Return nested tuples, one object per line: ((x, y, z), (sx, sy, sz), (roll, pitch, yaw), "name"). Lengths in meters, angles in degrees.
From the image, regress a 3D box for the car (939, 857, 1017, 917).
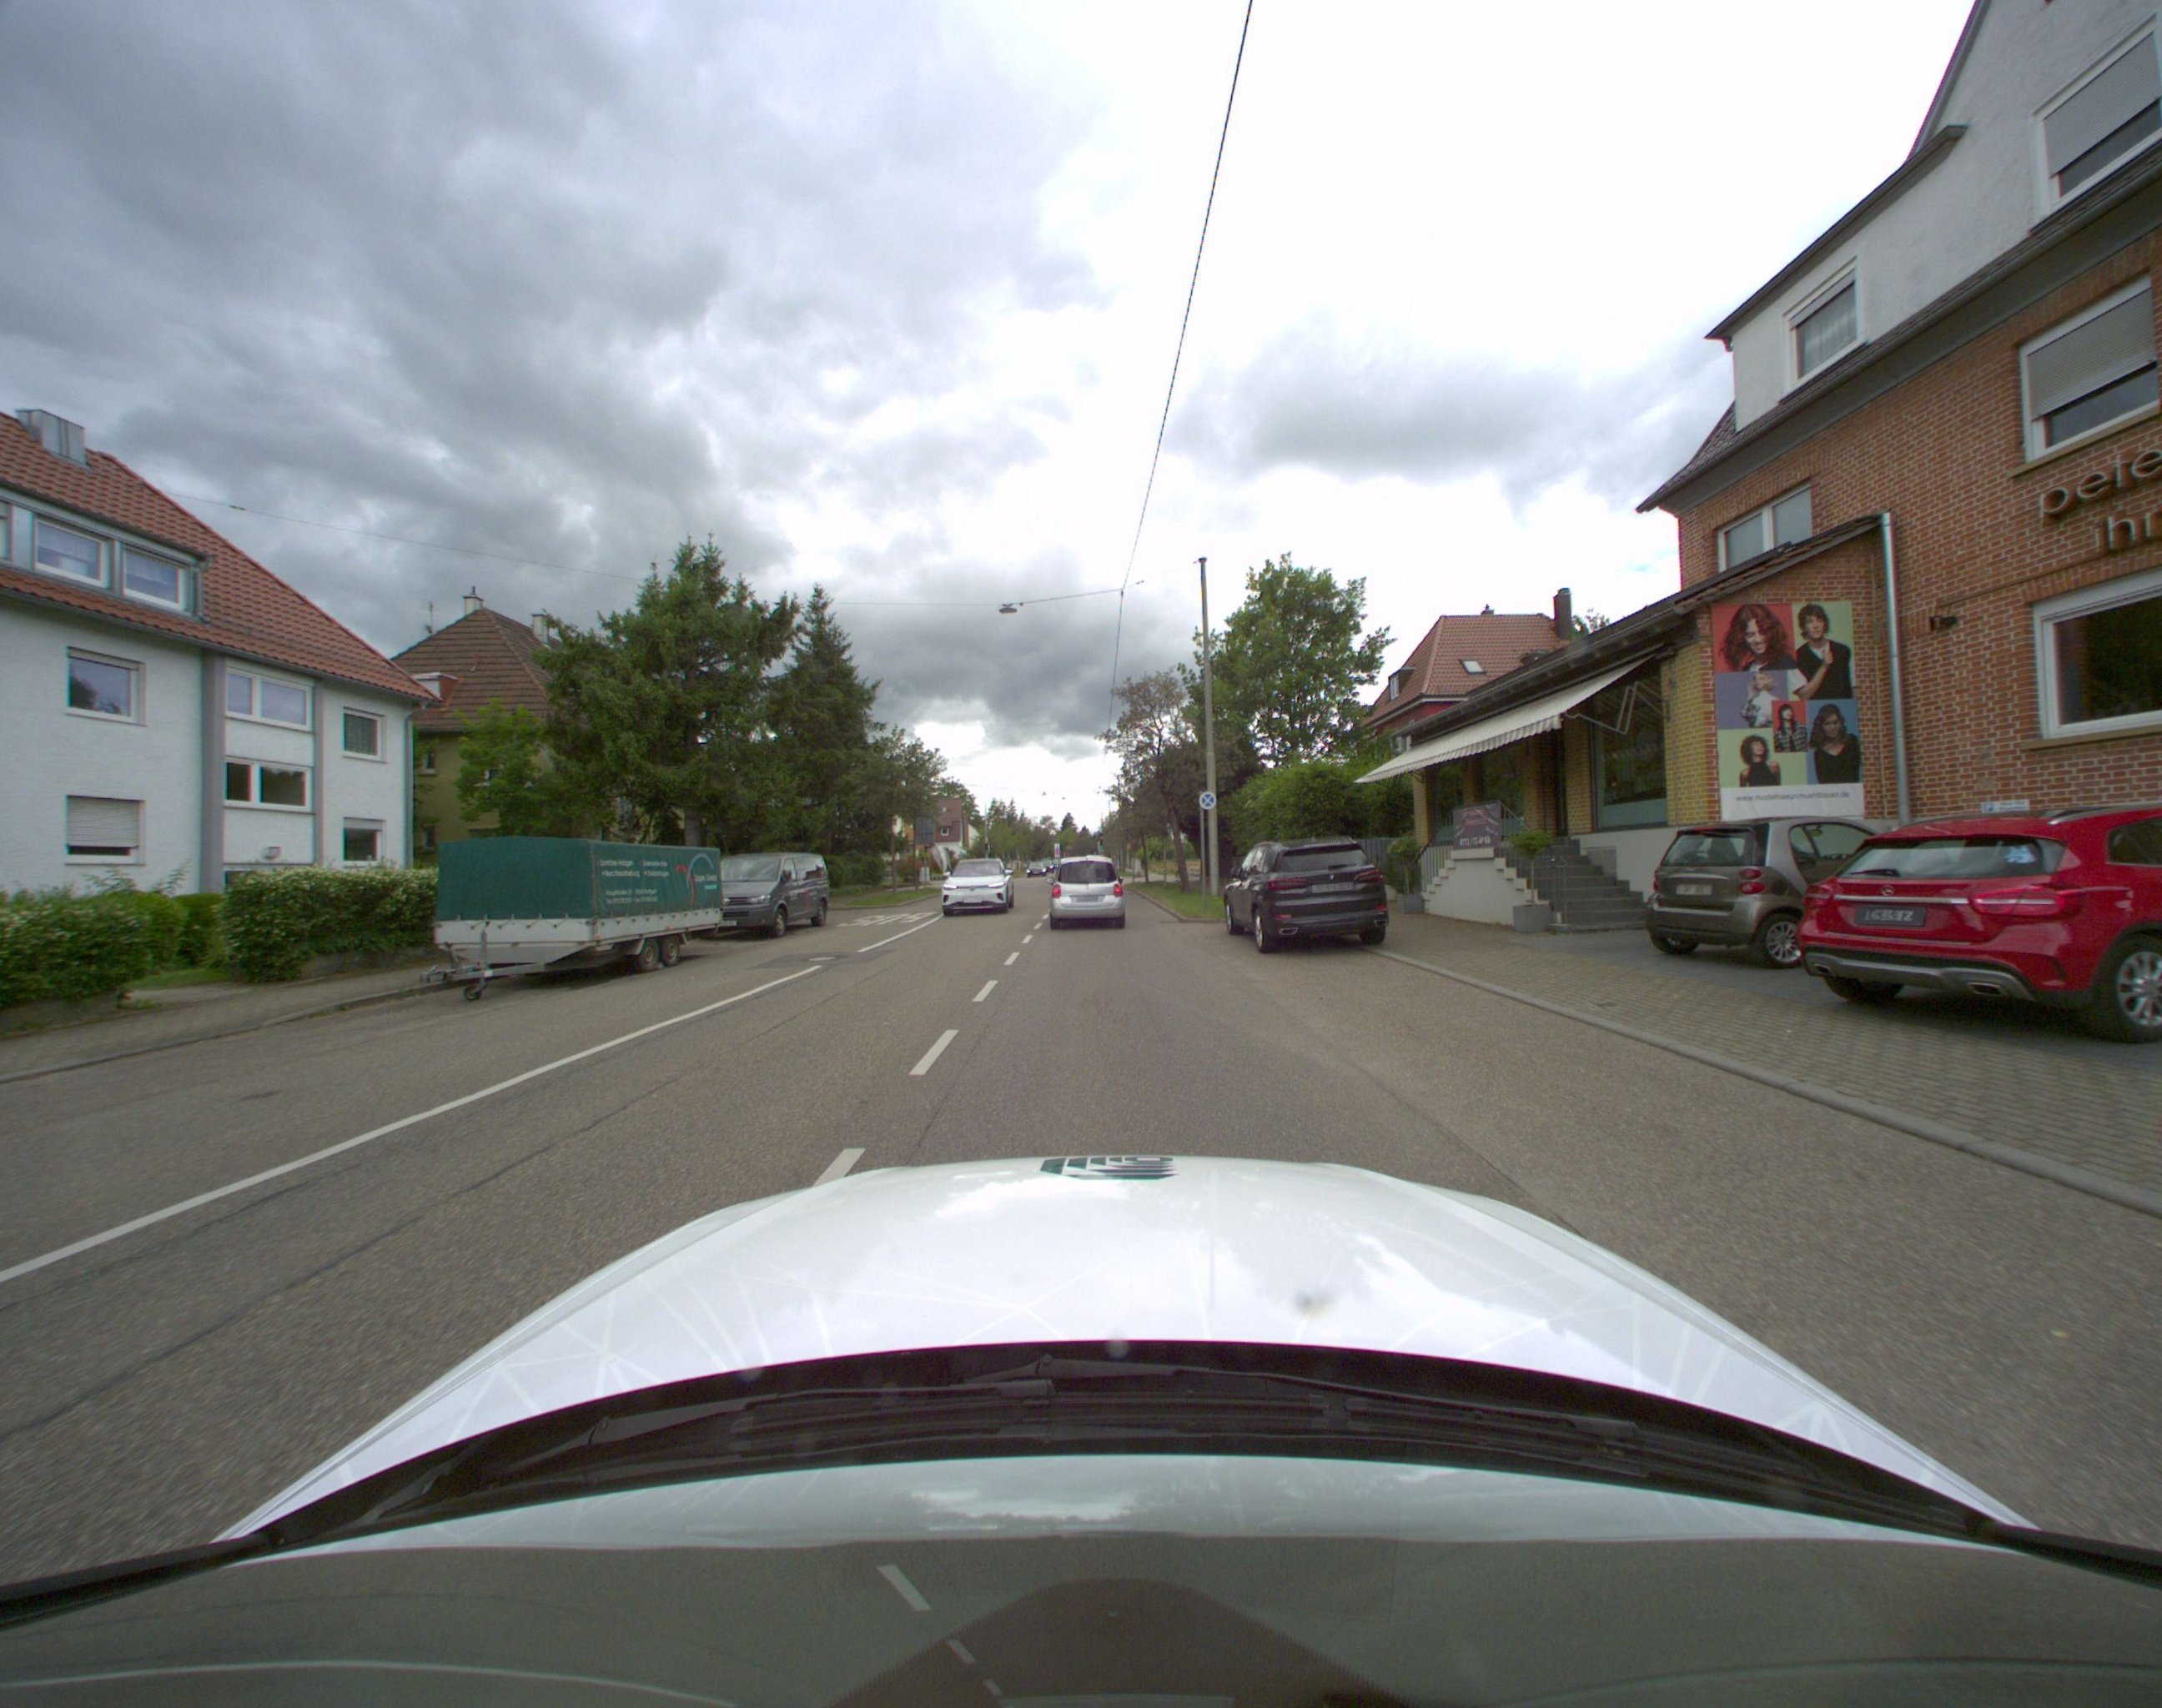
((-3.017, 0.946, 24.603), (1.901, 1.618, 3.997), (-1, -1, -2), "car")

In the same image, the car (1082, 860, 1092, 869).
((1.123, 2.122, 159.424), (1.823, 1.675, 3.575), (-2, 0, 1), "car")

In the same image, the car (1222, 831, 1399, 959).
((3.652, 0.622, 13.730), (1.806, 1.742, 3.999), (-3, -1, 0), "car")

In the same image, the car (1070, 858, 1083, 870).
((-0.664, 1.548, 128.277), (1.823, 1.675, 3.575), (-2, 0, 1), "car")

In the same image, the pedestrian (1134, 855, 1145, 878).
((4.402, 0.945, 61.616), (0.703, 1.647, 0.773), (-3, 0, 0), "pedestrian")

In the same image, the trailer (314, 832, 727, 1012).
((-7.883, 0.850, 12.553), (2.305, 2.087, 5.870), (-1, -1, 0), "trailer")

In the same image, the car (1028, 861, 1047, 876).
((-4.207, 1.423, 78.932), (1.717, 1.411, 3.996), (-1, -1, -2), "car")

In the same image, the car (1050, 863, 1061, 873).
((-3.986, 2.162, 126.704), (1.717, 1.411, 3.996), (-1, -1, -2), "car")

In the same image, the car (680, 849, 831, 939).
((-7.779, 0.907, 19.976), (1.882, 1.922, 4.560), (-1, -1, 0), "car")

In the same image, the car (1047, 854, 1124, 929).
((0.160, 0.831, 19.245), (1.624, 1.557, 4.001), (-1, -1, 2), "car")

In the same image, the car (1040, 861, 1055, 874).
((-3.954, 1.587, 95.984), (1.717, 1.411, 3.996), (-1, -1, -2), "car")

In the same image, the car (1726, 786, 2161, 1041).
((7.757, 0.309, 6.474), (3.984, 1.496, 1.805), (-5, 0, -8), "car")

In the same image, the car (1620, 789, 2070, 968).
((8.740, 0.251, 9.482), (3.981, 1.560, 1.500), (-5, 0, -6), "car")
